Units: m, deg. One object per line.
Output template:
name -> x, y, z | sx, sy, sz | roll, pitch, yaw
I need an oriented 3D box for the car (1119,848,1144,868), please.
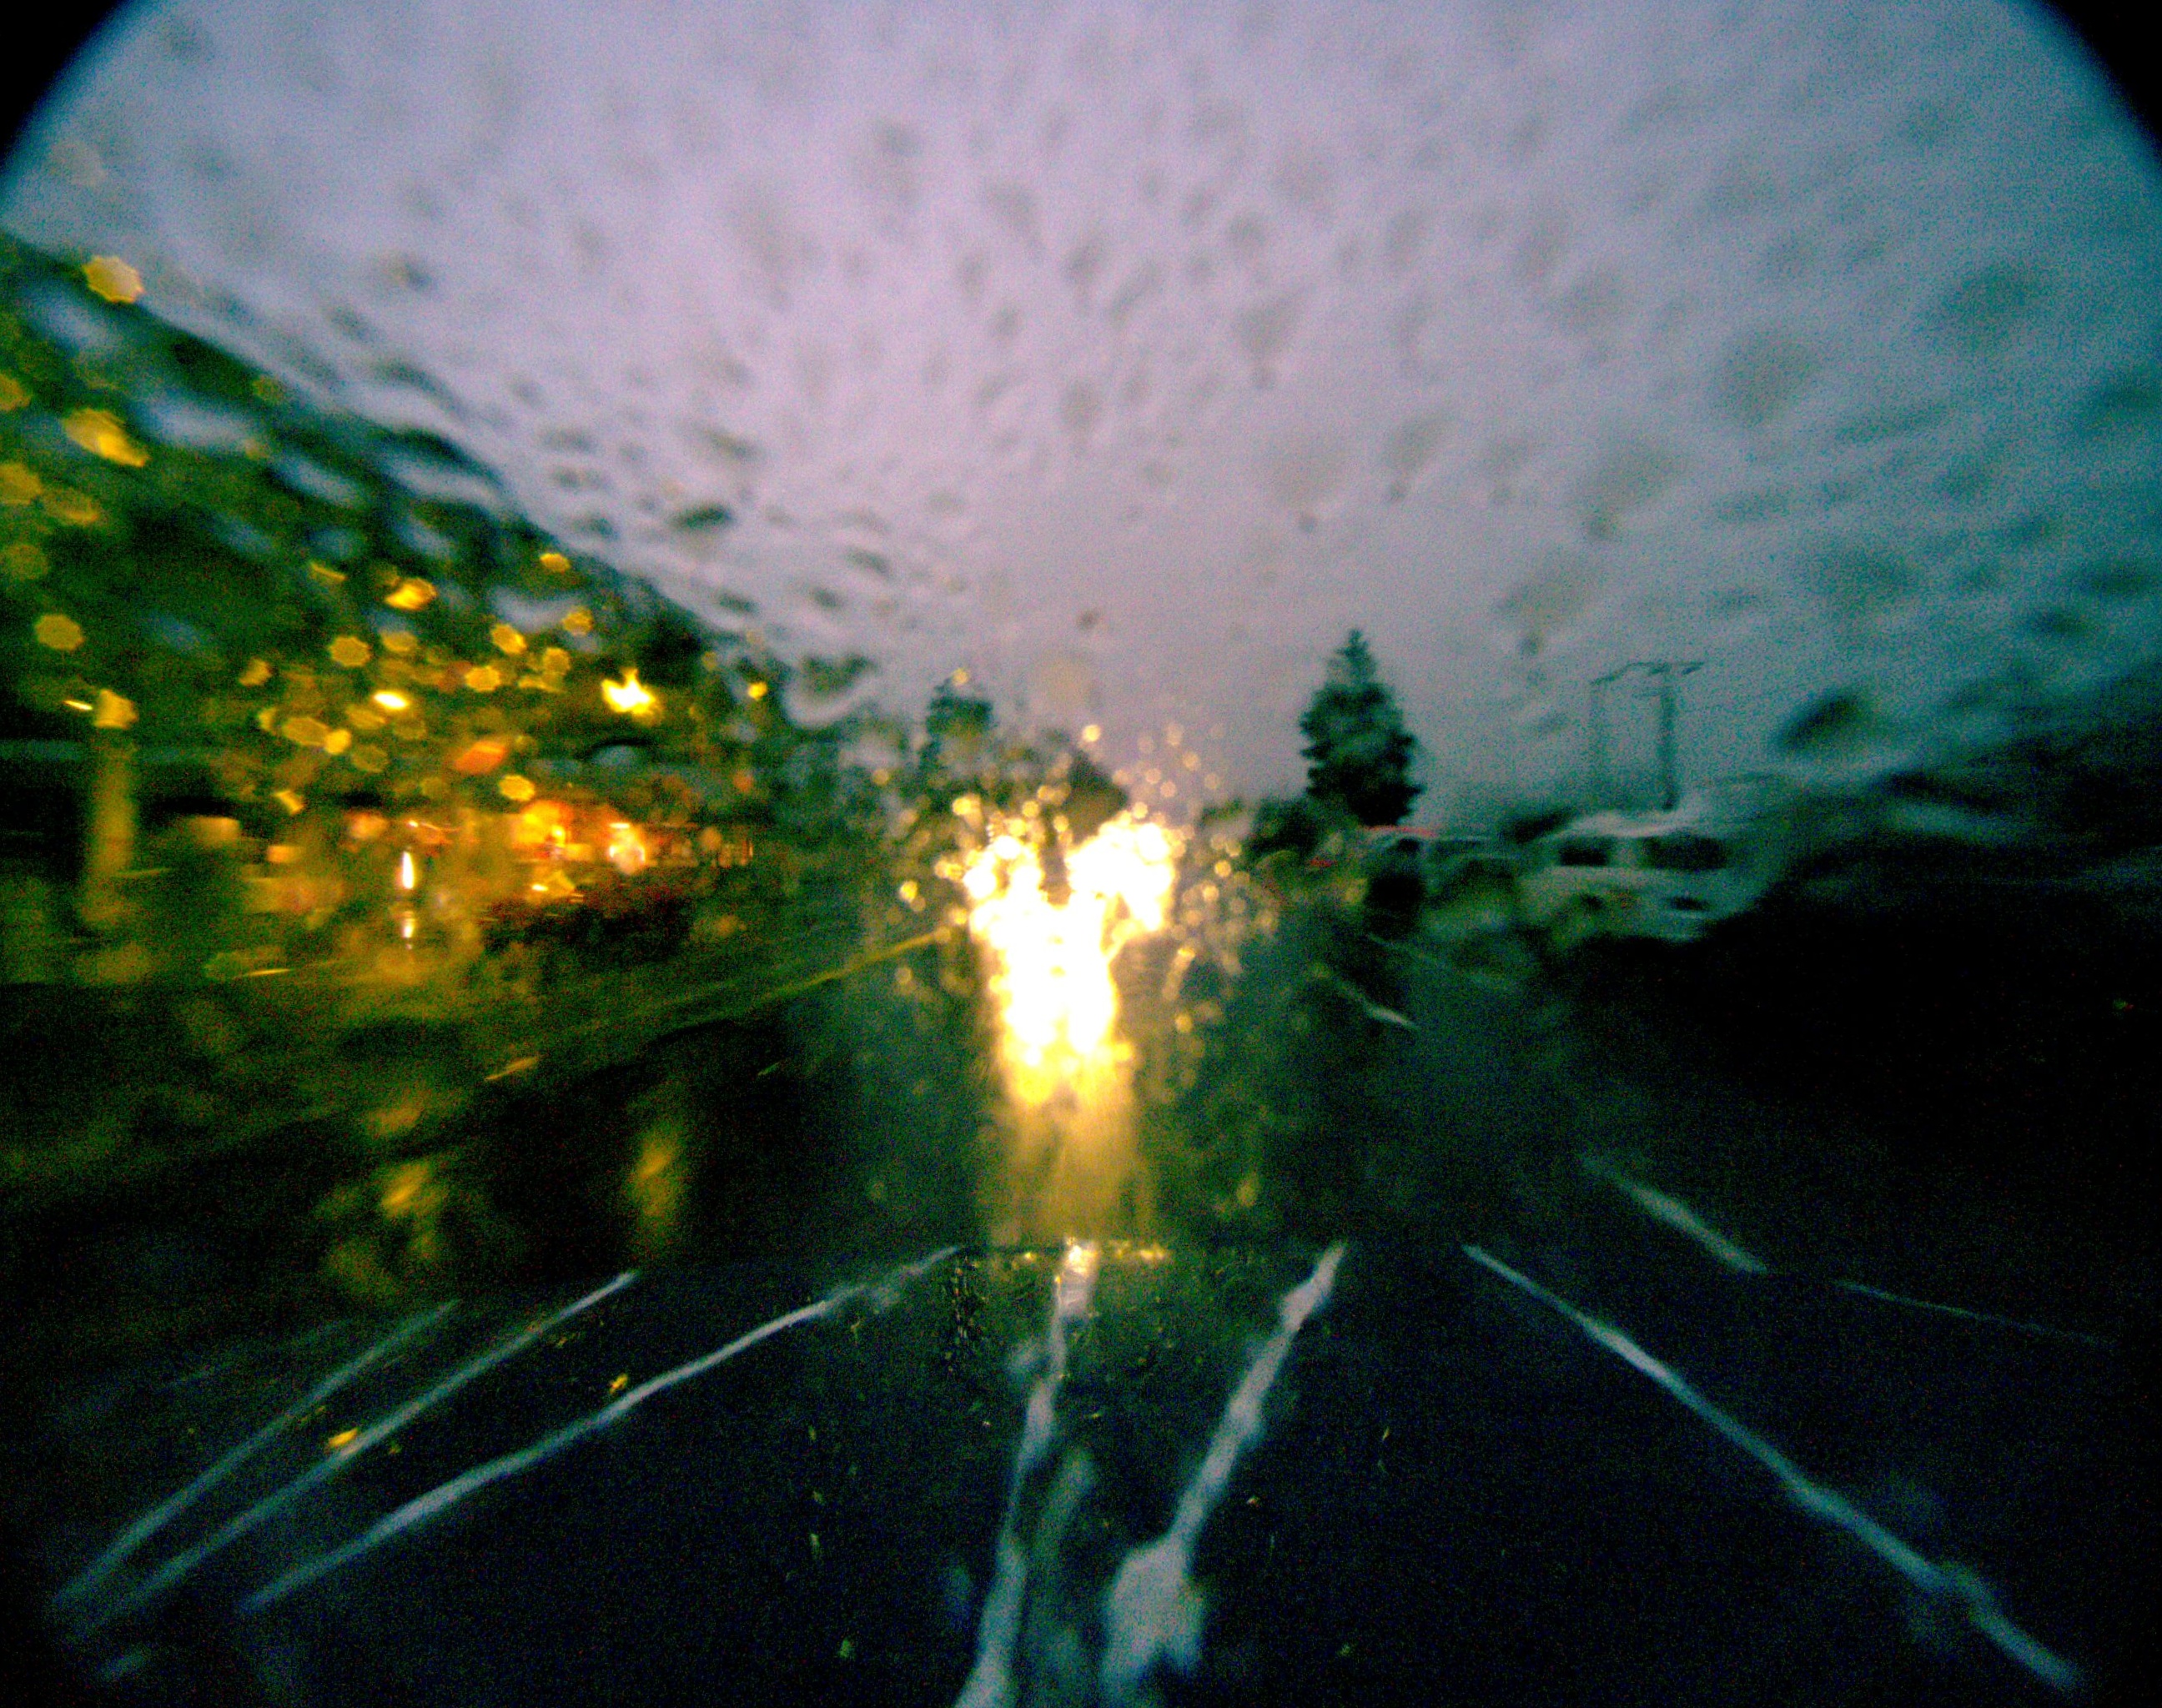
car -> 4.257, 0.316, 63.865 | 1.889, 1.618, 4.001 | -2, 0, 5

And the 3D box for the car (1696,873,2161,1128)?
car -> 7.505, 0.965, 6.249 | 1.573, 1.314, 4.256 | 1, 2, 3

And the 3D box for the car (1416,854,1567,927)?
car -> 8.832, 0.719, 16.720 | 1.653, 1.404, 3.842 | 0, 0, 7

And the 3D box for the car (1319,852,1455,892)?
car -> 12.415, 0.705, 31.080 | 4.759, 1.474, 1.956 | 1, 0, 5

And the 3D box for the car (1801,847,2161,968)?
car -> 14.620, 0.784, 12.249 | 4.058, 1.723, 2.025 | -1, 1, 2

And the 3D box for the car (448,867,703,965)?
car -> -8.821, 0.981, 13.767 | 1.576, 1.388, 4.170 | 0, 1, 5

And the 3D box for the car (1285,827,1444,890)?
car -> 12.349, 0.179, 33.436 | 6.169, 2.617, 2.177 | 1, 1, 5

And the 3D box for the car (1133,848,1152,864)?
car -> 6.686, 0.221, 82.496 | 1.889, 1.618, 4.001 | -1, 0, 3

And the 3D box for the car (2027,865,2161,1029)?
car -> 11.837, 0.925, 6.903 | 3.918, 1.469, 1.810 | 2, 1, 5

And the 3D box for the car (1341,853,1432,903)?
car -> 9.433, 0.718, 23.749 | 1.654, 1.411, 3.744 | 0, -1, 6

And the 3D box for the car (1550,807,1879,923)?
car -> 15.192, 0.258, 18.551 | 6.045, 2.623, 2.196 | 0, 1, 3

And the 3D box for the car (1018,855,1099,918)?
car -> -0.550, 0.829, 21.269 | 2.015, 1.484, 4.000 | -2, 0, 1

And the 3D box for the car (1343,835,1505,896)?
car -> 12.773, 0.417, 28.595 | 5.156, 2.138, 2.059 | 1, 1, 5

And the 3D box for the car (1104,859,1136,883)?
car -> 2.558, 1.107, 50.809 | 2.015, 1.484, 4.000 | -1, 0, 1

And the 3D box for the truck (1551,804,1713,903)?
truck -> 21.176, -0.030, 29.628 | 2.036, 3.434, 5.852 | 1, 0, 1

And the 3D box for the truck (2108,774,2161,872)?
truck -> 32.027, -0.921, 21.104 | 4.725, 2.681, 2.232 | -2, 1, -9

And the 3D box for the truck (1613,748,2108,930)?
truck -> 14.578, -0.239, 14.653 | 6.874, 3.124, 2.335 | -1, 1, 4

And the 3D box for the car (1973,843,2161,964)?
car -> 14.449, 0.545, 9.643 | 4.058, 1.369, 1.814 | -1, 1, 2

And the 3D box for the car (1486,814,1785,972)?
car -> 8.248, 0.484, 11.932 | 1.838, 2.002, 4.486 | -1, 1, 7
